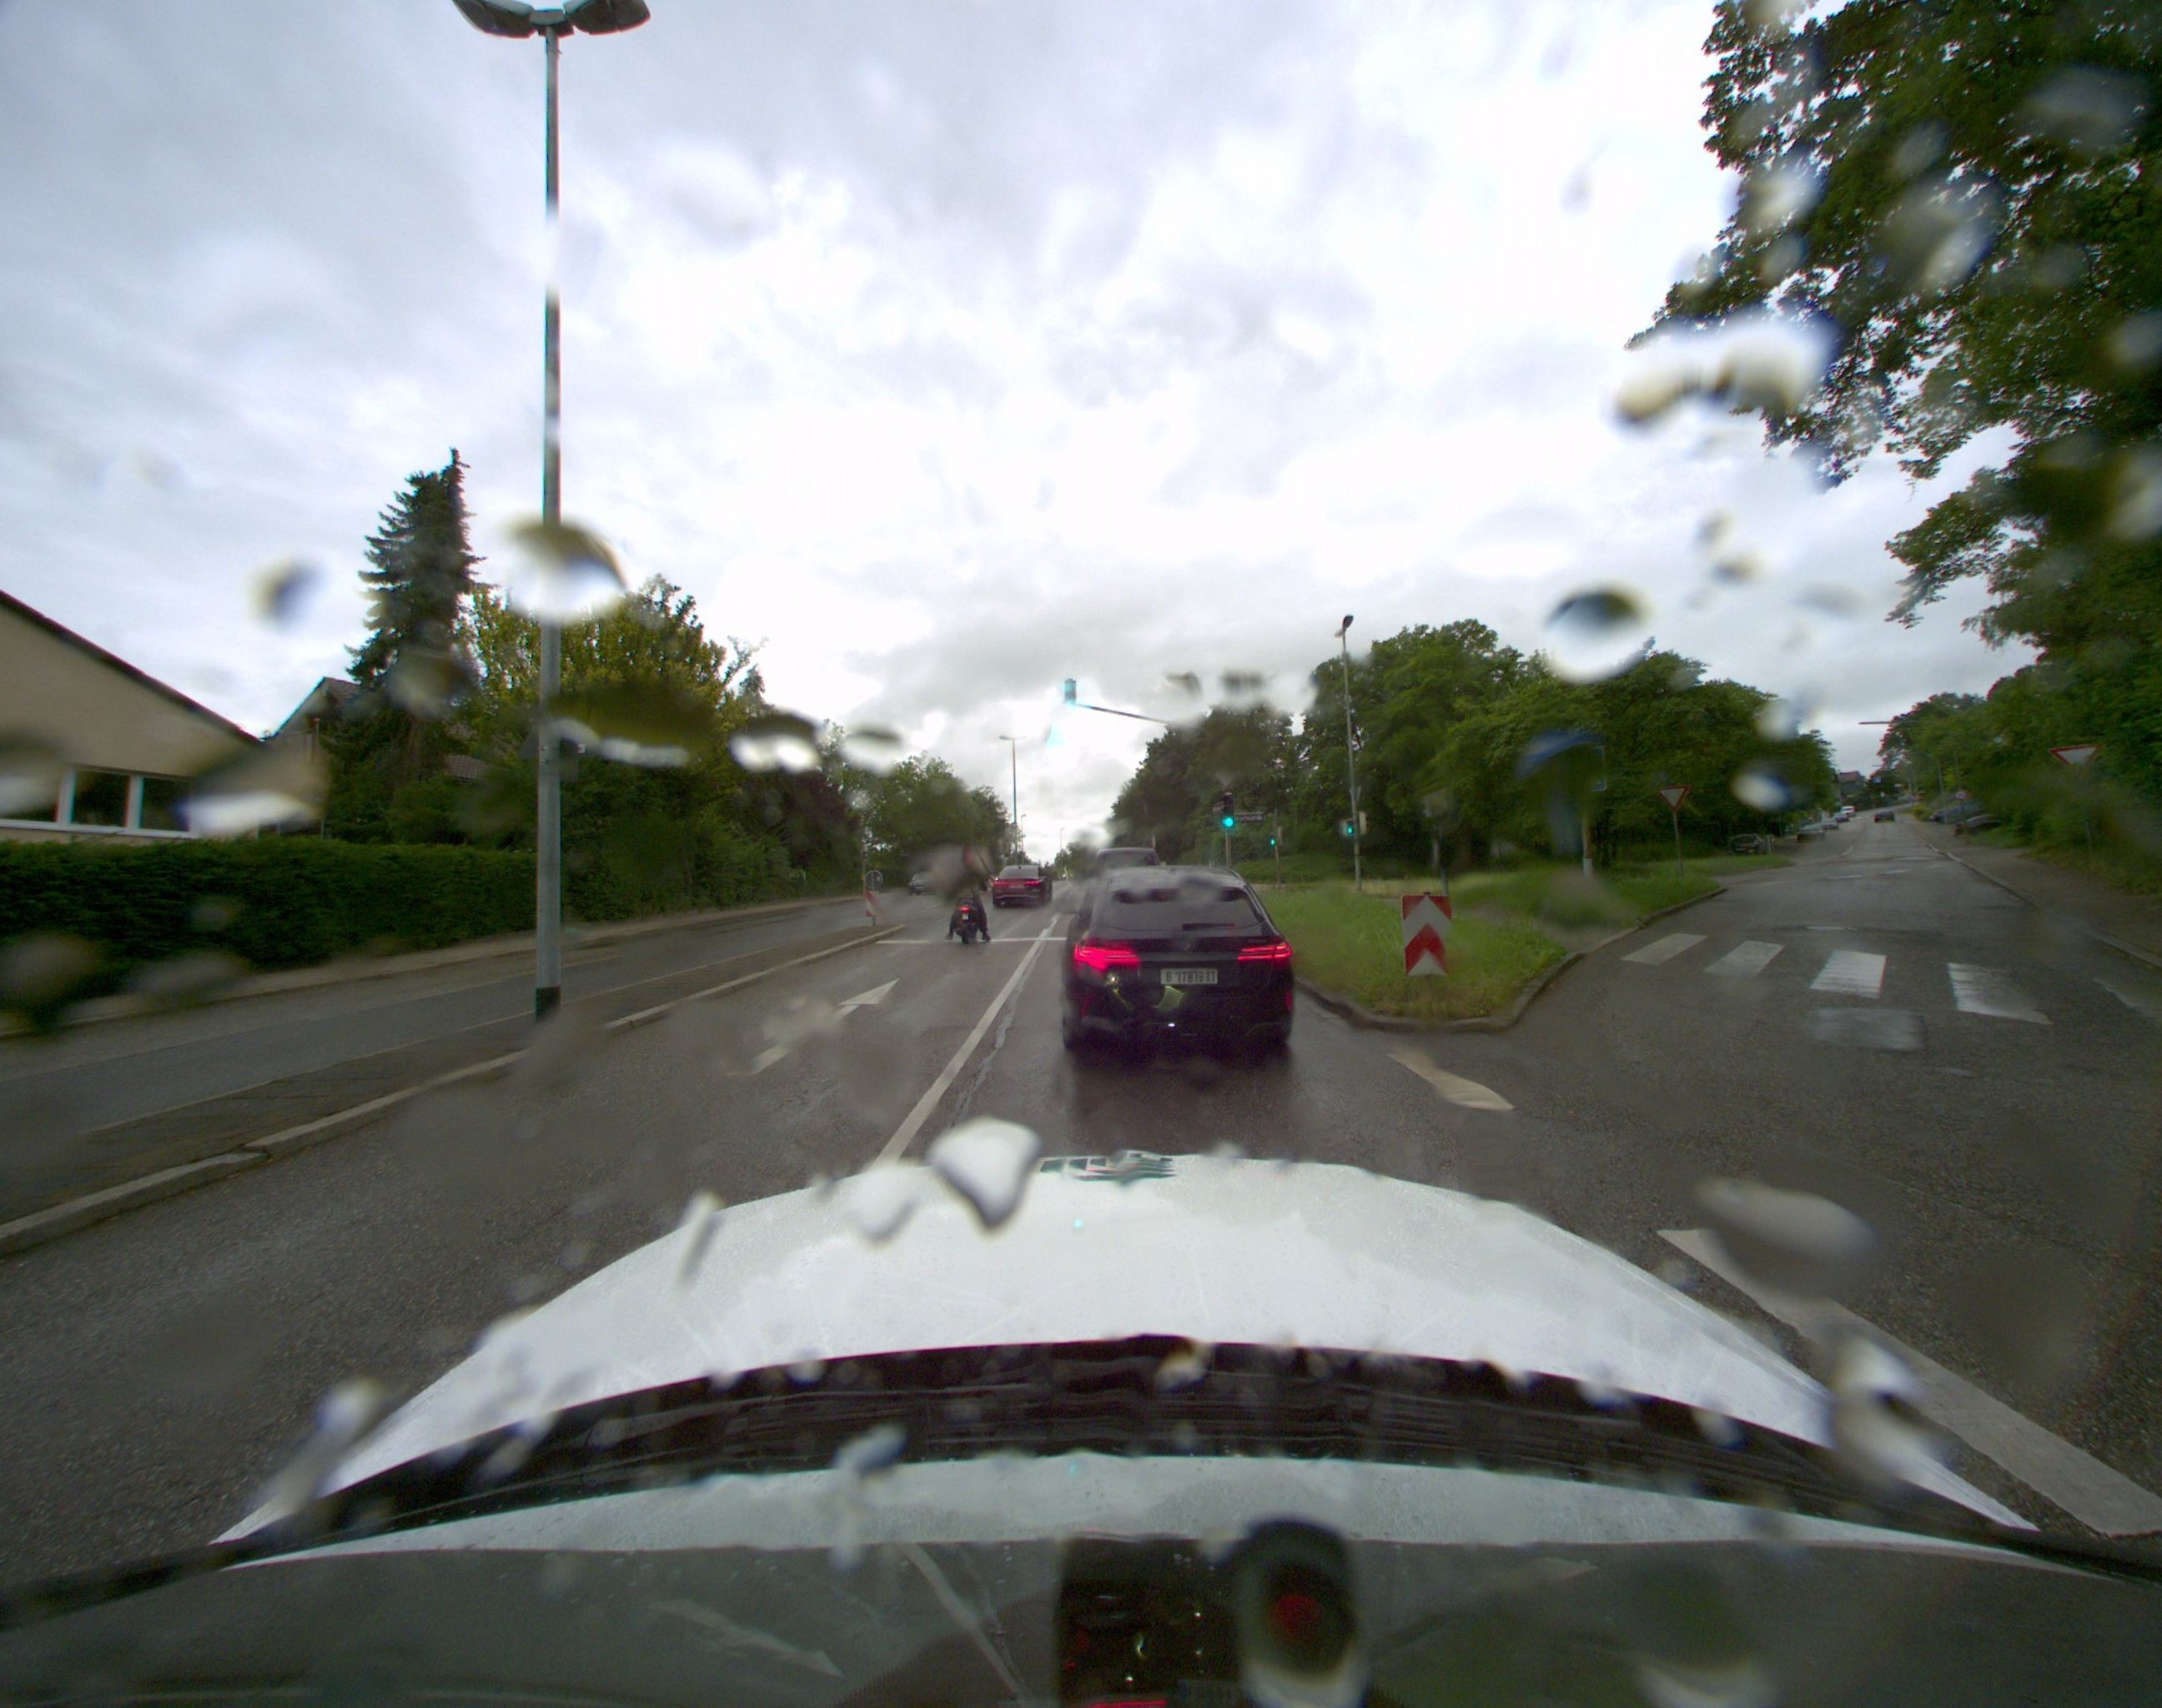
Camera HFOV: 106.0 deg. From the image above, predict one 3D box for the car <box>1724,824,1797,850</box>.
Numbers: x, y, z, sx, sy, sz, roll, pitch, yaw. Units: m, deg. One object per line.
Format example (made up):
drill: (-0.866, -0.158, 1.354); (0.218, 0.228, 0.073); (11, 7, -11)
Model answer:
car: (46.057, -1.137, 55.237); (3.994, 1.571, 1.819); (-2, -1, -15)

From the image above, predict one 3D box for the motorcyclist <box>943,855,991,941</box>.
motorcyclist: (-2.252, 0.859, 16.150); (0.842, 1.647, 0.468); (-1, -1, 1)

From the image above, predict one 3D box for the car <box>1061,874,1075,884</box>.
car: (-2.124, 4.102, 135.482); (2.018, 1.563, 3.877); (-3, -1, 1)

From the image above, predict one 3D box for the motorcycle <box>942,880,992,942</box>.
motorcycle: (-2.224, 1.107, 16.073); (0.738, 1.119, 1.427); (-1, 0, 2)

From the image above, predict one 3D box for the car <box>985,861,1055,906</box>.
car: (-2.085, 0.986, 29.194); (2.007, 1.415, 4.488); (-1, 0, 2)

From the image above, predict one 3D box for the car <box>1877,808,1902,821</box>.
car: (104.285, -5.057, 105.052); (1.921, 1.458, 4.242); (-1, -1, 41)

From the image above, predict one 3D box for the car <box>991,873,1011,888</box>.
car: (-9.250, 3.045, 94.321); (1.721, 1.485, 4.157); (-4, -1, 1)

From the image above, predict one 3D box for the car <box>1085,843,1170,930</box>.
car: (1.045, 0.697, 19.192); (1.760, 1.810, 3.907); (-1, 0, 2)

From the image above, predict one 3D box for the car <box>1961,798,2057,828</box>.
car: (60.719, -2.629, 53.401); (1.969, 1.648, 3.950); (-2, -1, -45)

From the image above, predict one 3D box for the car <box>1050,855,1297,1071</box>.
car: (0.728, 0.808, 7.739); (1.758, 1.536, 3.674); (-1, -1, 2)

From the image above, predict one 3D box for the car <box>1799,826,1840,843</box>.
car: (66.366, -1.718, 73.148); (4.014, 1.446, 1.686); (0, -1, -32)

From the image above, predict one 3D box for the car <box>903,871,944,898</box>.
car: (-9.682, 1.841, 50.264); (1.858, 1.492, 3.830); (-3, 0, -2)
